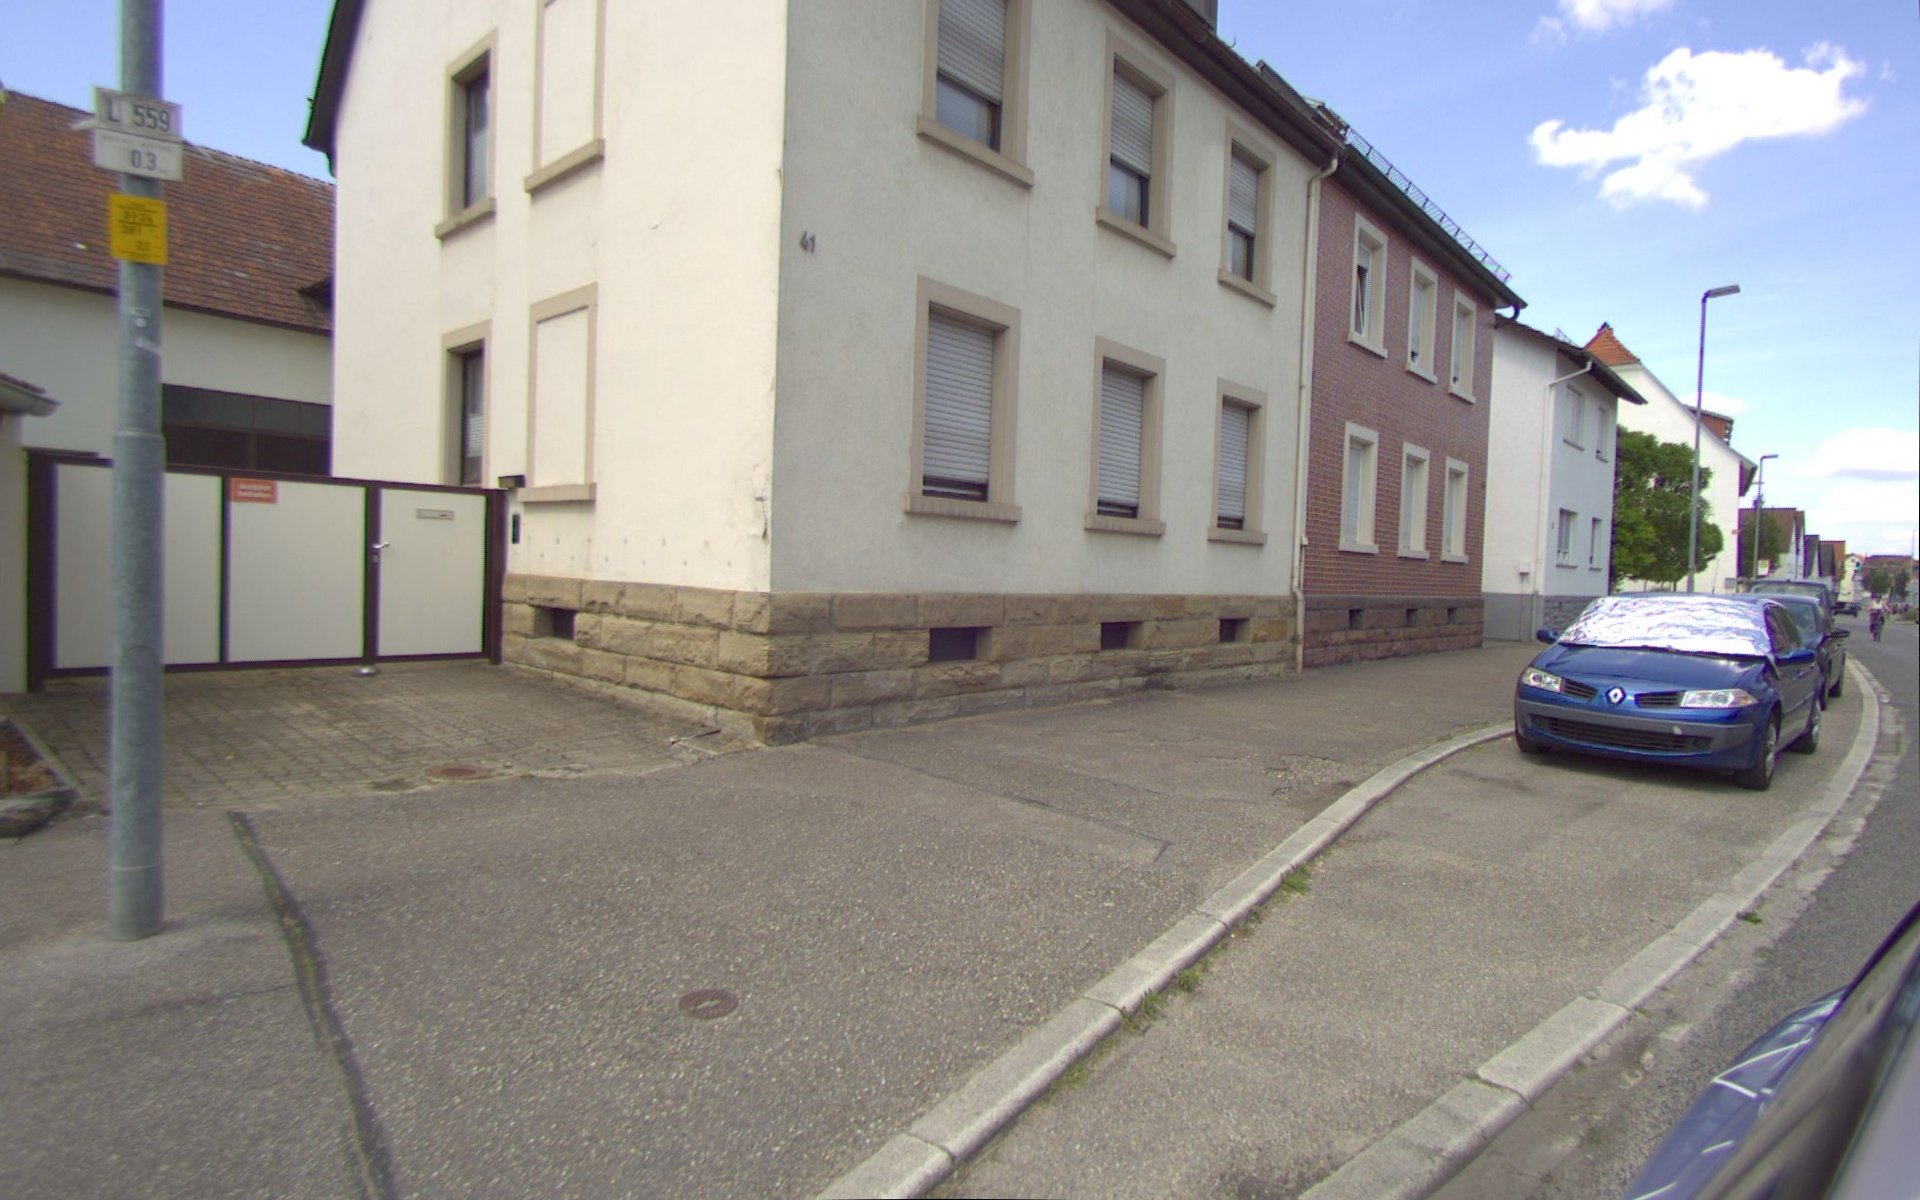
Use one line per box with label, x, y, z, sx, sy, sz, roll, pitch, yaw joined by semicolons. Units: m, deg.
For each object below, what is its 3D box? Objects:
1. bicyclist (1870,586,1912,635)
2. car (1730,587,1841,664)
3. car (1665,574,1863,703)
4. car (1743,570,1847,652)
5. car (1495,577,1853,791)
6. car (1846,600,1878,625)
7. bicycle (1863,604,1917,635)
bicyclist;33.363;0.348;36.284;0.746;1.709;0.911;-1;1;-30
car;18.608;0.496;22.843;1.737;1.522;4.493;3;2;39
car;11.578;0.522;14.476;1.769;1.549;3.935;3;0;45
car;21.991;0.180;26.572;1.924;1.939;5.168;1;2;42
car;6.418;0.536;8.936;3.932;1.402;1.726;-2;4;-42
car;79.896;1.083;89.650;1.993;2.038;3.938;1;2;43
bicycle;33.325;0.697;36.257;1.886;1.024;0.935;2;0;-31
